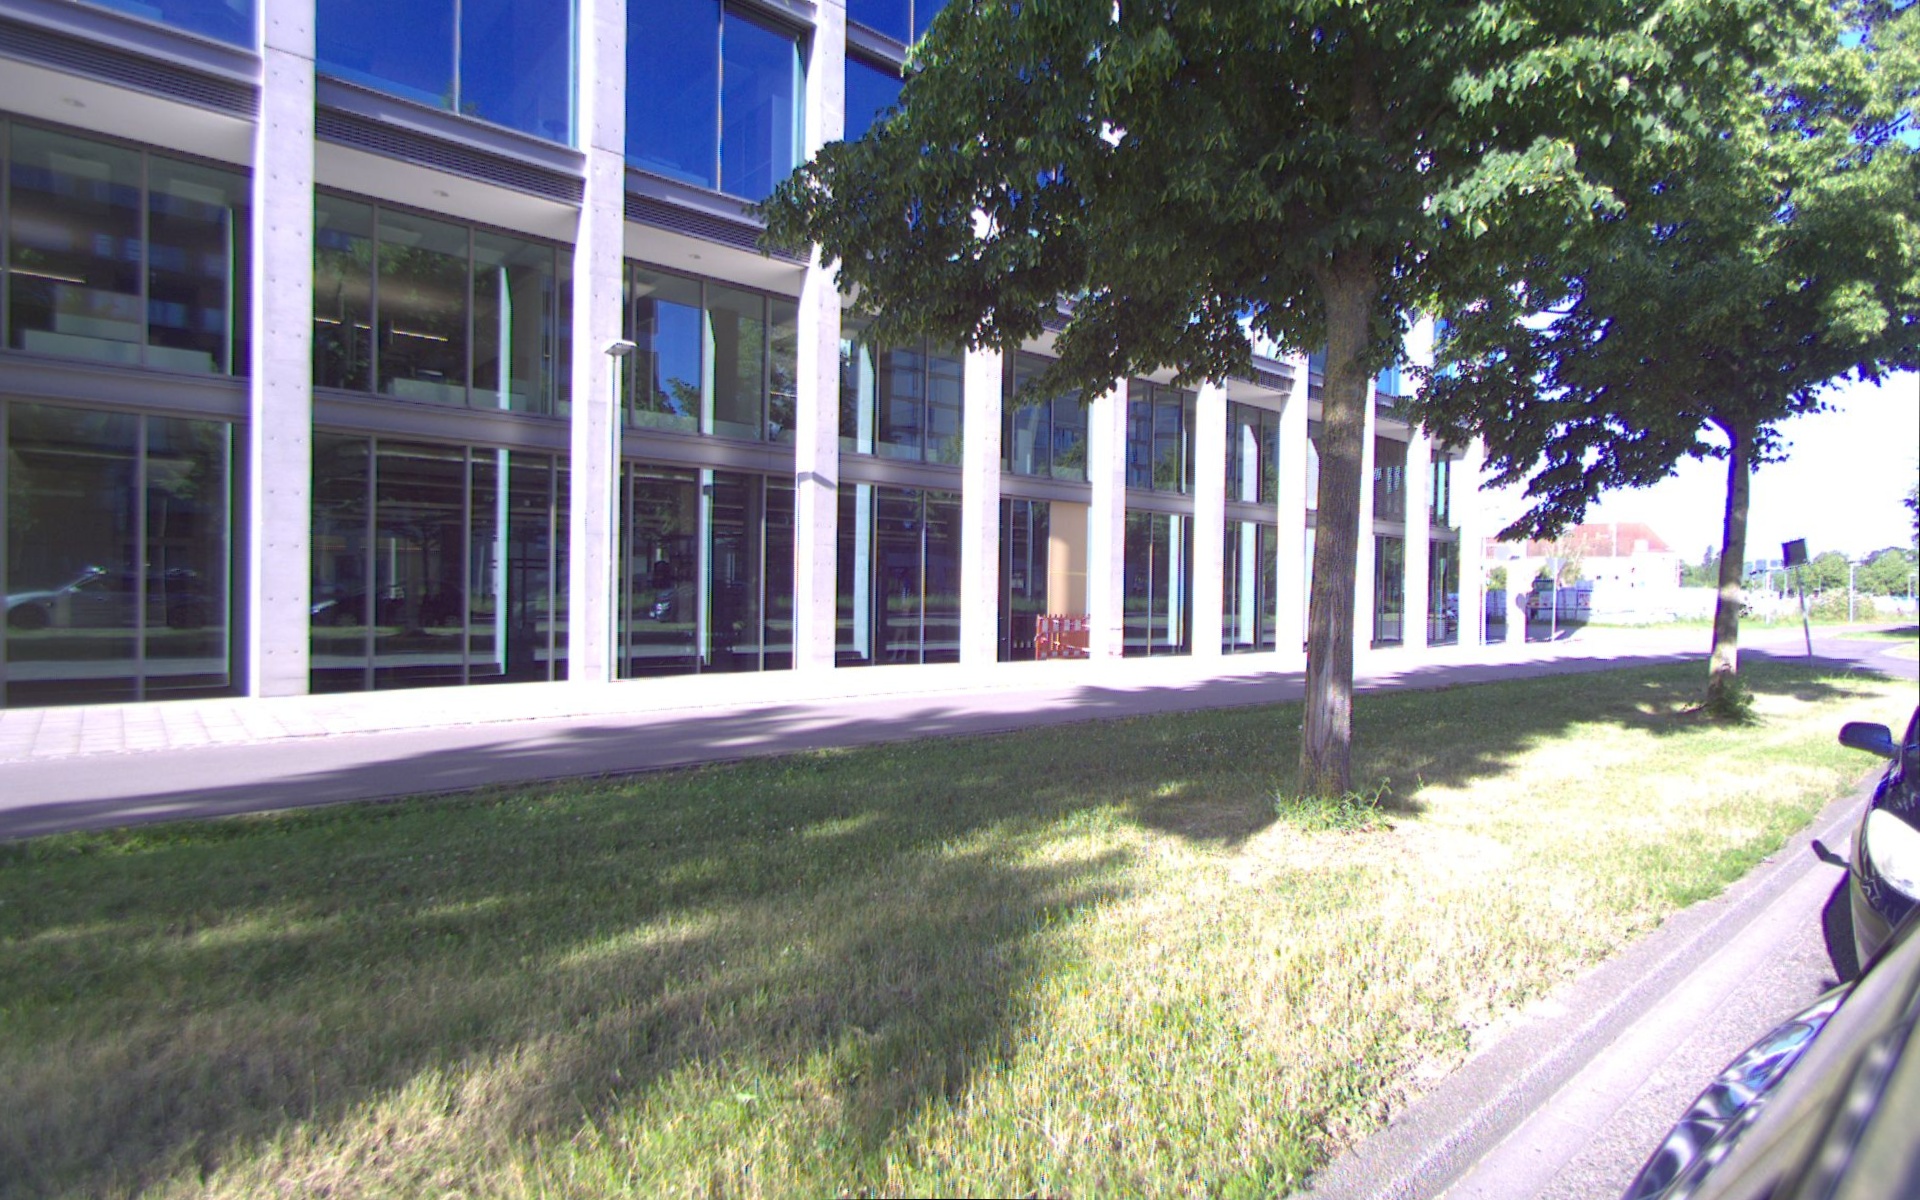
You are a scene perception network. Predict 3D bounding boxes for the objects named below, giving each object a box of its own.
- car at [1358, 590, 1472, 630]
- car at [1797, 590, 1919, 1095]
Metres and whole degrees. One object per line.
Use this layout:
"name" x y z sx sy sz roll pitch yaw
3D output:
"car" 19.496 0.390 43.488 1.963 1.598 3.997 0 1 -38
"car" 4.931 0.729 3.970 4.403 1.500 1.845 0 1 -41
